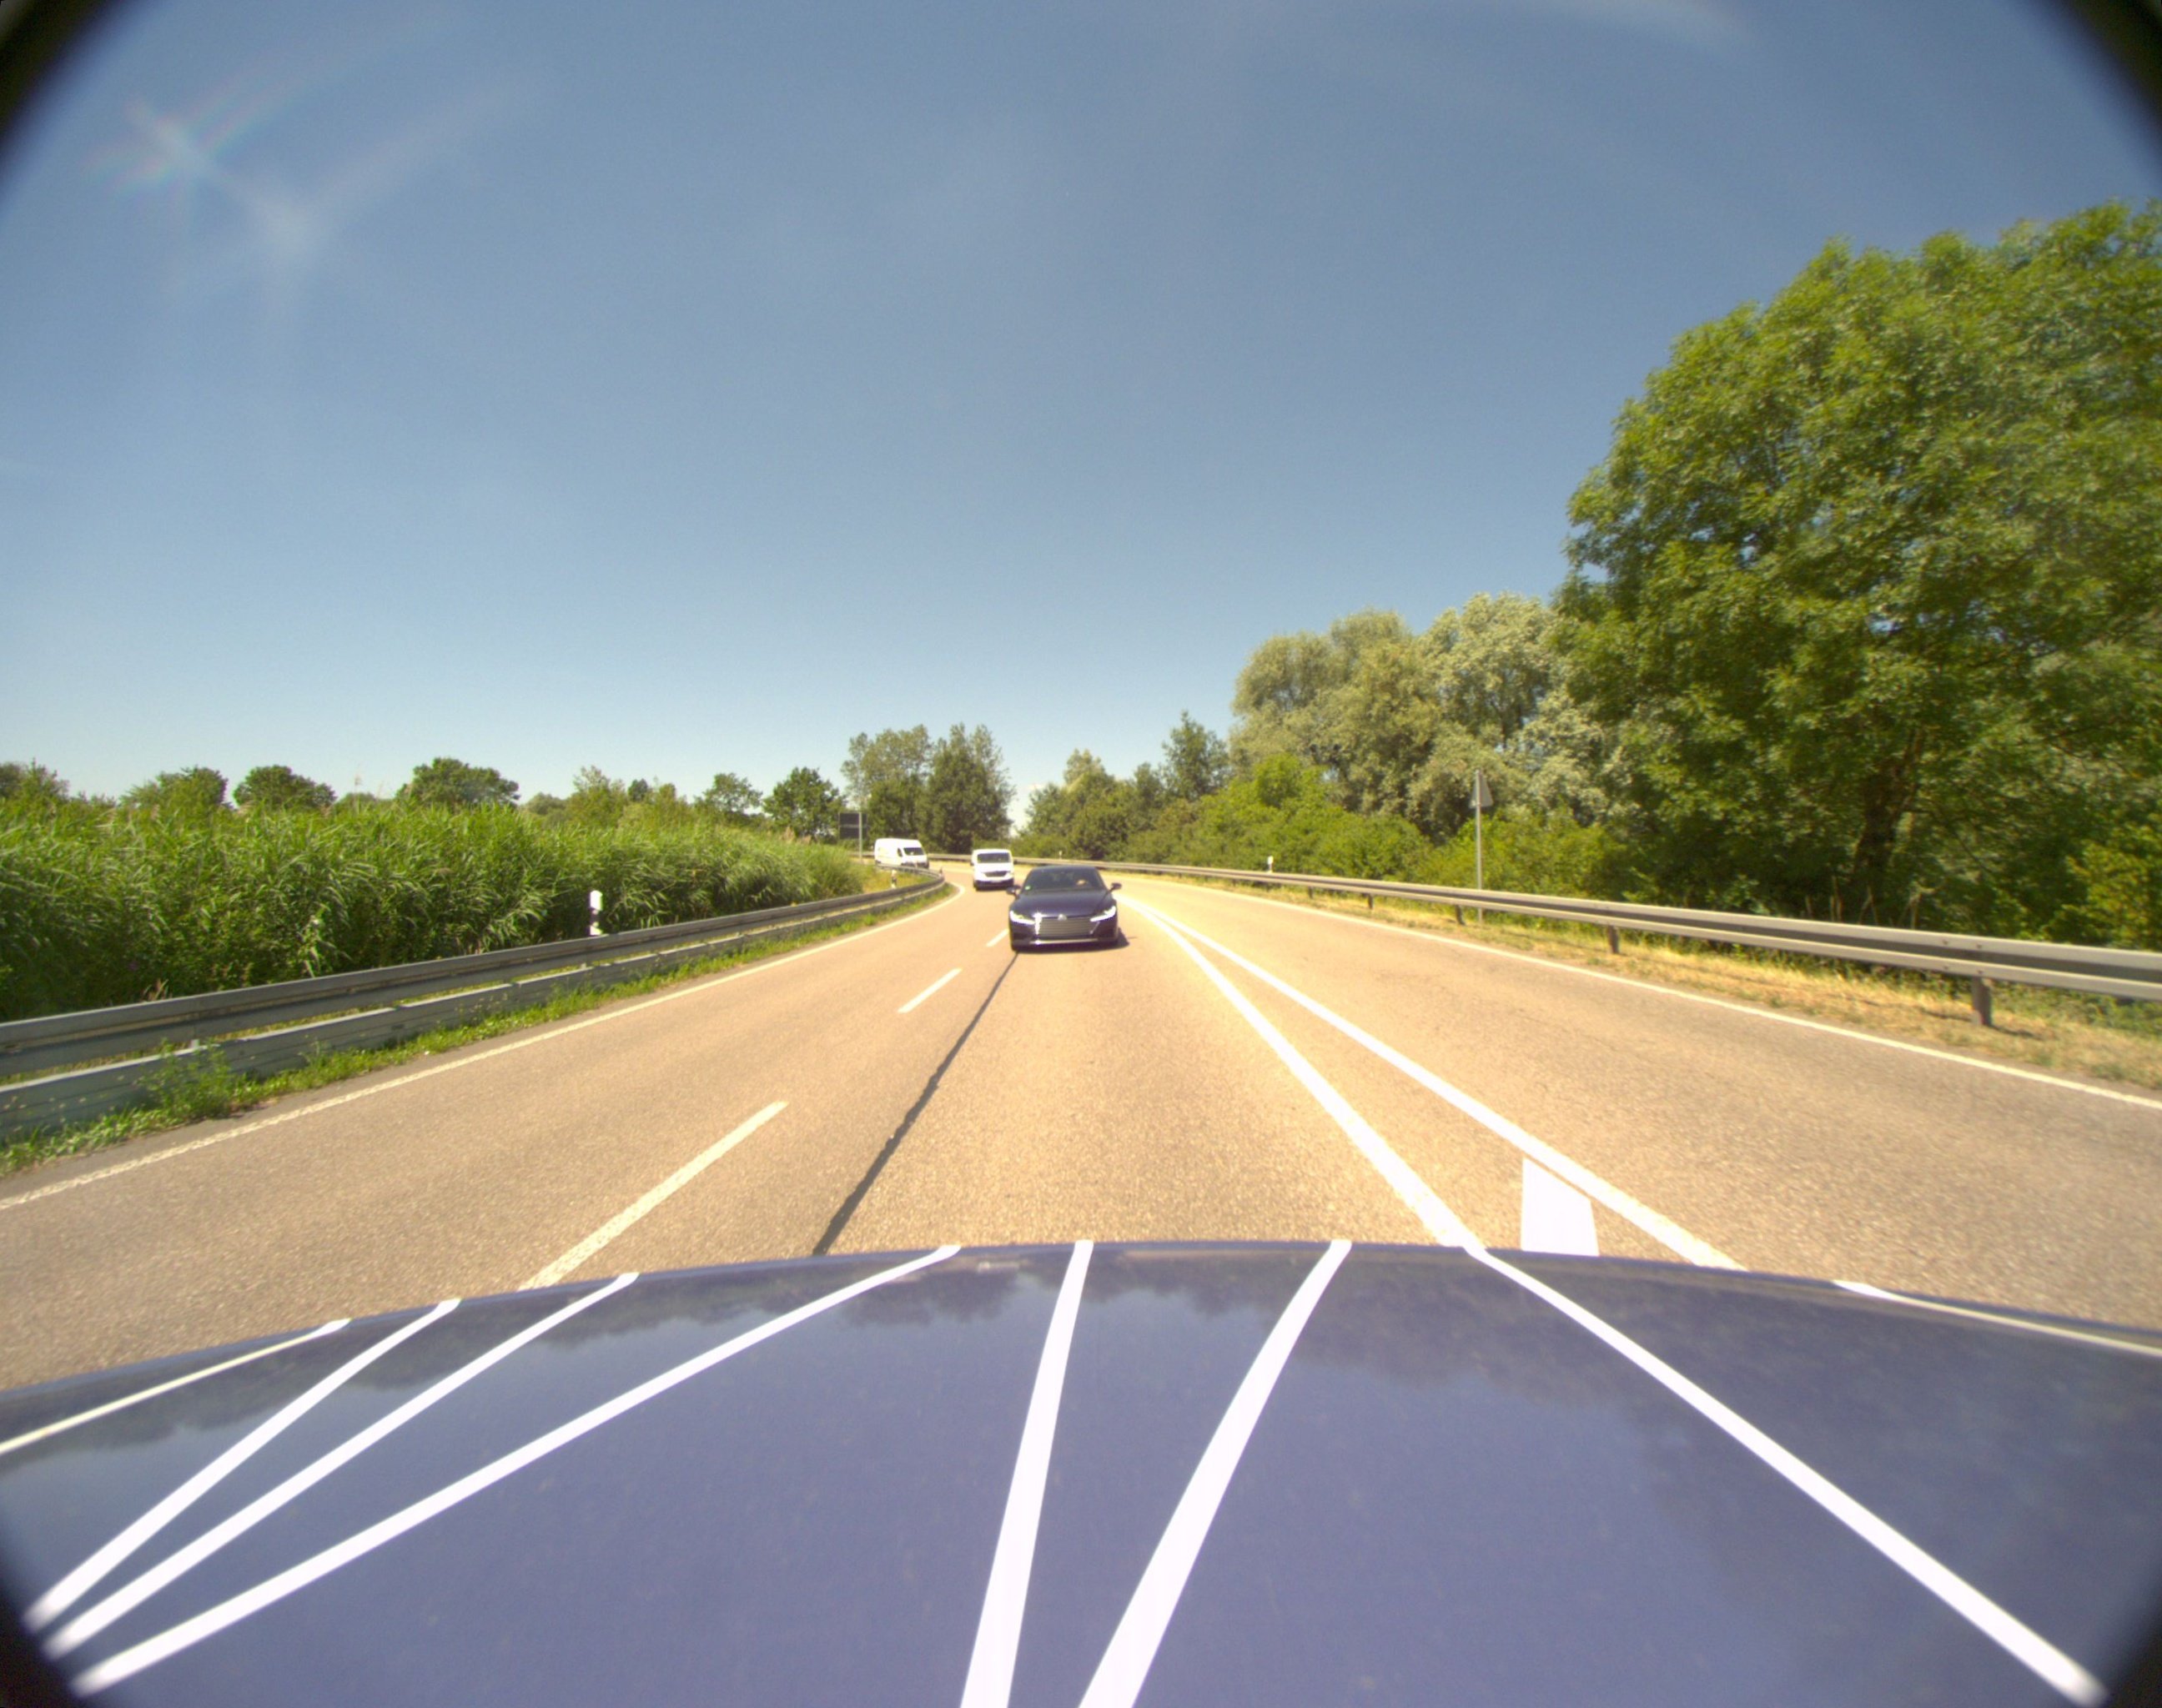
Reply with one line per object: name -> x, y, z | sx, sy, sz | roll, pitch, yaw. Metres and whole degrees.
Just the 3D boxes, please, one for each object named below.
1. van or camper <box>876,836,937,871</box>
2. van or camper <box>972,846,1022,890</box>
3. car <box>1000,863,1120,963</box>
van or camper -> -13.951, -0.130, 60.553 | 2.078, 2.541, 6.029 | -5, 4, -41
van or camper -> -4.344, 0.684, 38.615 | 2.010, 2.019, 5.443 | -2, 0, -11
car -> -0.245, 0.973, 14.316 | 1.842, 1.422, 4.534 | -3, 0, 2
